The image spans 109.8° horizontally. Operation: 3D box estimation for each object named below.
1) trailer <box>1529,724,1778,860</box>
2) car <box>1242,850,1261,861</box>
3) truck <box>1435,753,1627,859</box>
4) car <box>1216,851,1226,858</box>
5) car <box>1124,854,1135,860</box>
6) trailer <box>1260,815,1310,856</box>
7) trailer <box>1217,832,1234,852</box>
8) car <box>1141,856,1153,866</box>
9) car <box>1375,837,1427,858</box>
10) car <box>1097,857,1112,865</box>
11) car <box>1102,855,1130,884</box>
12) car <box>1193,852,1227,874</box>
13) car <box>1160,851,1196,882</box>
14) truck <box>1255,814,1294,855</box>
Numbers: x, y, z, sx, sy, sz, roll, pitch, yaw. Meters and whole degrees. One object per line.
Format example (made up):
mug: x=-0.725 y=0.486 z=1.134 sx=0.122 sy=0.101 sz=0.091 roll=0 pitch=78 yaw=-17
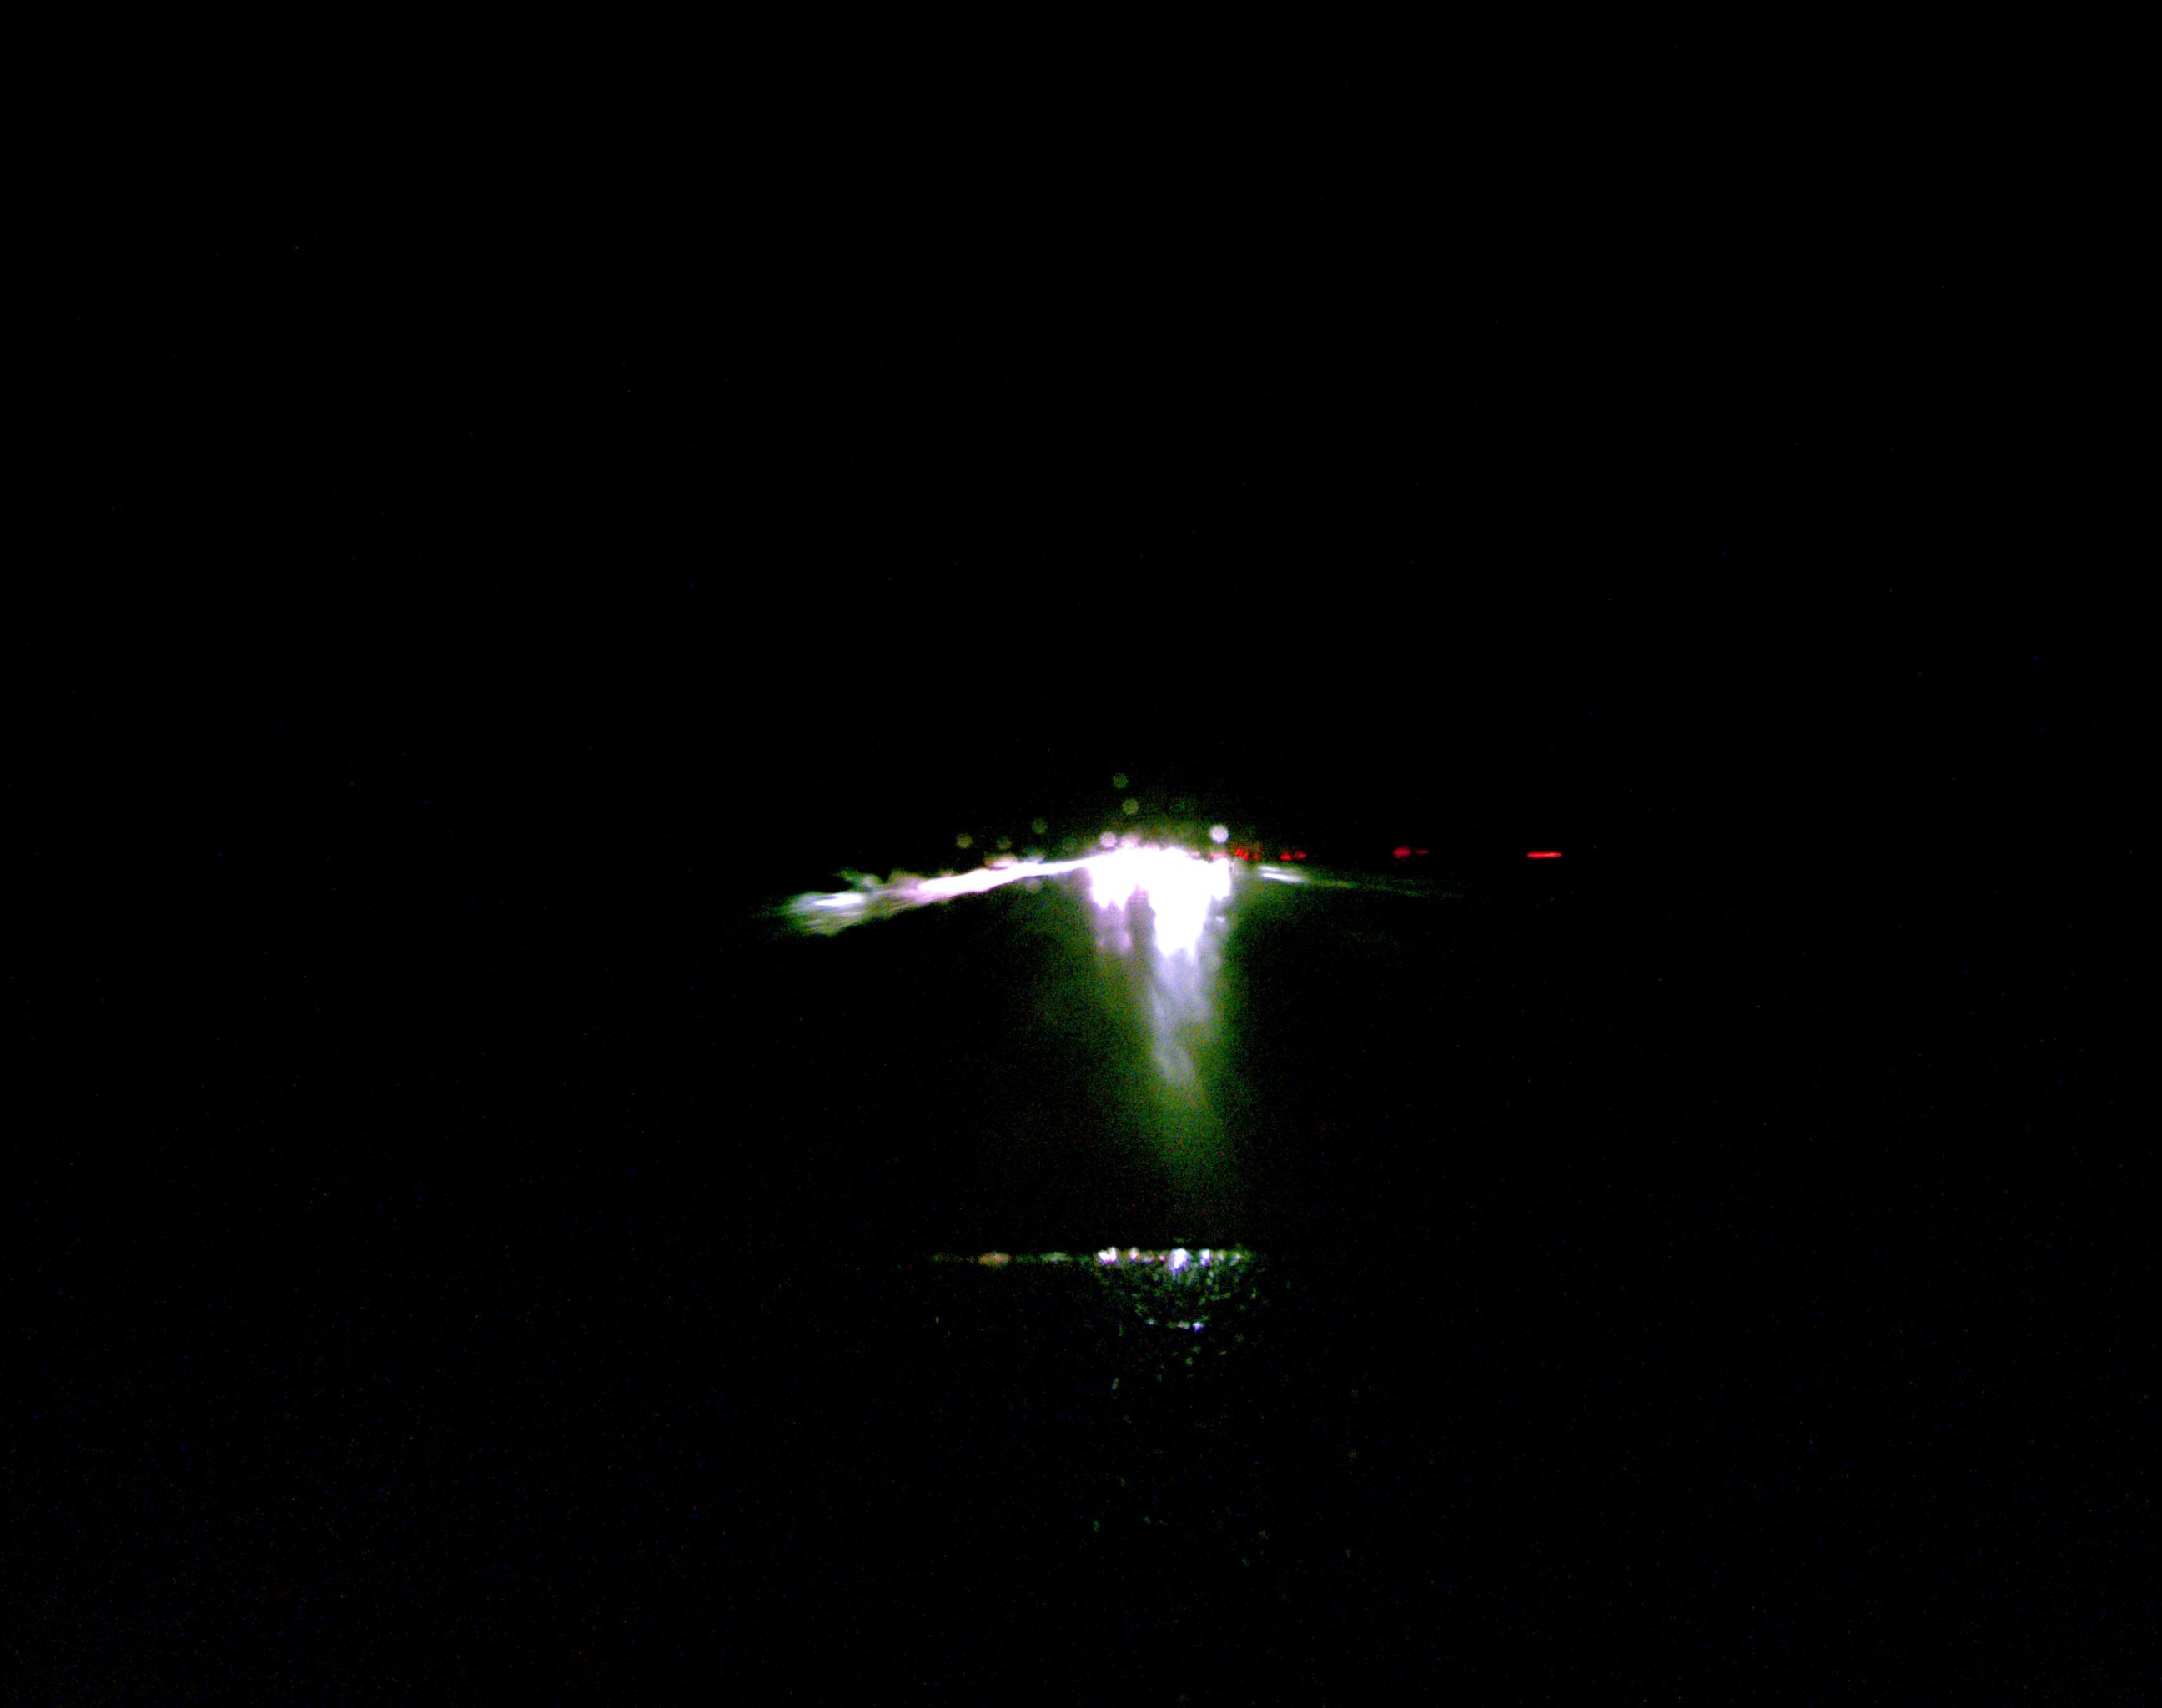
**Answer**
trailer: x=25.989 y=-2.511 z=35.457 sx=4.350 sy=5.111 sz=8.996 roll=-6 pitch=0 yaw=0
car: x=24.254 y=0.185 z=108.463 sx=1.711 sy=1.472 sz=5.017 roll=-4 pitch=0 yaw=2
truck: x=26.020 y=-2.478 z=45.112 sx=4.350 sy=5.111 sz=11.030 roll=-6 pitch=0 yaw=0
car: x=36.524 y=0.110 z=198.365 sx=1.998 sy=1.633 sz=4.254 roll=-3 pitch=0 yaw=2
car: x=10.399 y=0.558 z=163.256 sx=1.997 sy=1.149 sz=4.002 roll=-3 pitch=0 yaw=7
trailer: x=29.866 y=-2.612 z=112.116 sx=4.177 sy=5.413 sz=13.748 roll=-3 pitch=0 yaw=3
trailer: x=47.416 y=-3.803 z=249.527 sx=3.470 sy=6.092 sz=14.412 roll=-6 pitch=0 yaw=5
car: x=9.156 y=0.968 z=105.425 sx=1.692 sy=1.149 sz=3.421 roll=-3 pitch=0 yaw=5
car: x=21.767 y=-0.432 z=51.864 sx=1.711 sy=1.214 sz=4.272 roll=-4 pitch=0 yaw=1
car: x=3.718 y=1.073 z=118.320 sx=1.997 sy=1.149 sz=4.002 roll=-3 pitch=0 yaw=7
car: x=2.704 y=1.158 z=58.786 sx=1.998 sy=2.002 sz=4.001 roll=-3 pitch=0 yaw=3
car: x=10.204 y=0.706 z=60.245 sx=2.309 sy=1.600 sz=3.872 roll=-3 pitch=0 yaw=5
car: x=5.762 y=0.732 z=45.556 sx=1.998 sy=1.667 sz=4.001 roll=-3 pitch=0 yaw=6
truck: x=30.179 y=-3.010 z=118.829 sx=4.177 sy=6.092 sz=7.345 roll=-3 pitch=0 yaw=3
